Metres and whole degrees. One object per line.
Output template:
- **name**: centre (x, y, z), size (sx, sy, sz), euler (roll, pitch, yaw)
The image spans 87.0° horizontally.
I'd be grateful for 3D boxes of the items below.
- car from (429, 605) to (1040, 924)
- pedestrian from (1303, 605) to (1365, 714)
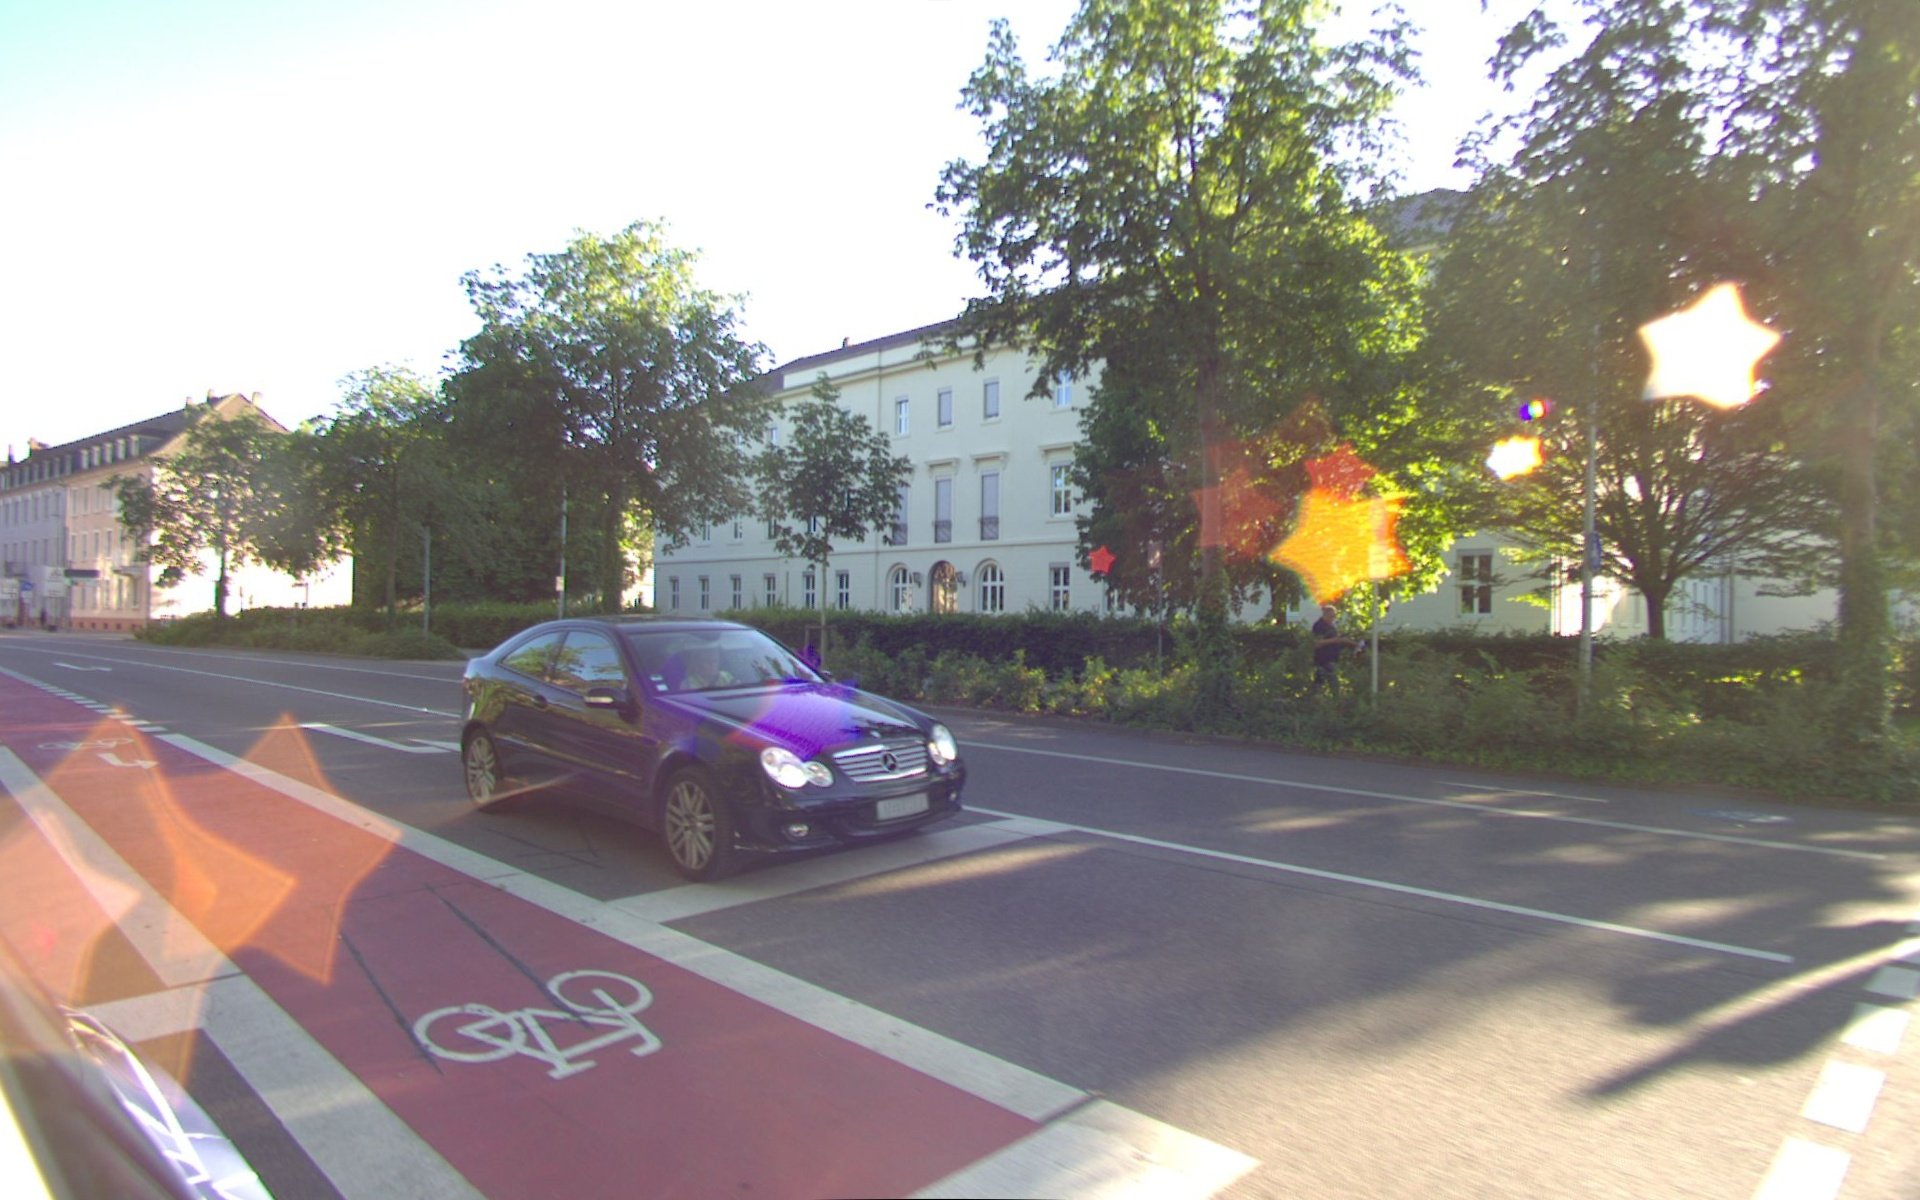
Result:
- **car**: centre (-1.775, 0.761, 6.751), size (4.526, 1.428, 1.699), euler (0, 0, 42)
- **pedestrian**: centre (6.016, 0.945, 16.275), size (0.681, 1.694, 0.681), euler (2, -2, -39)
